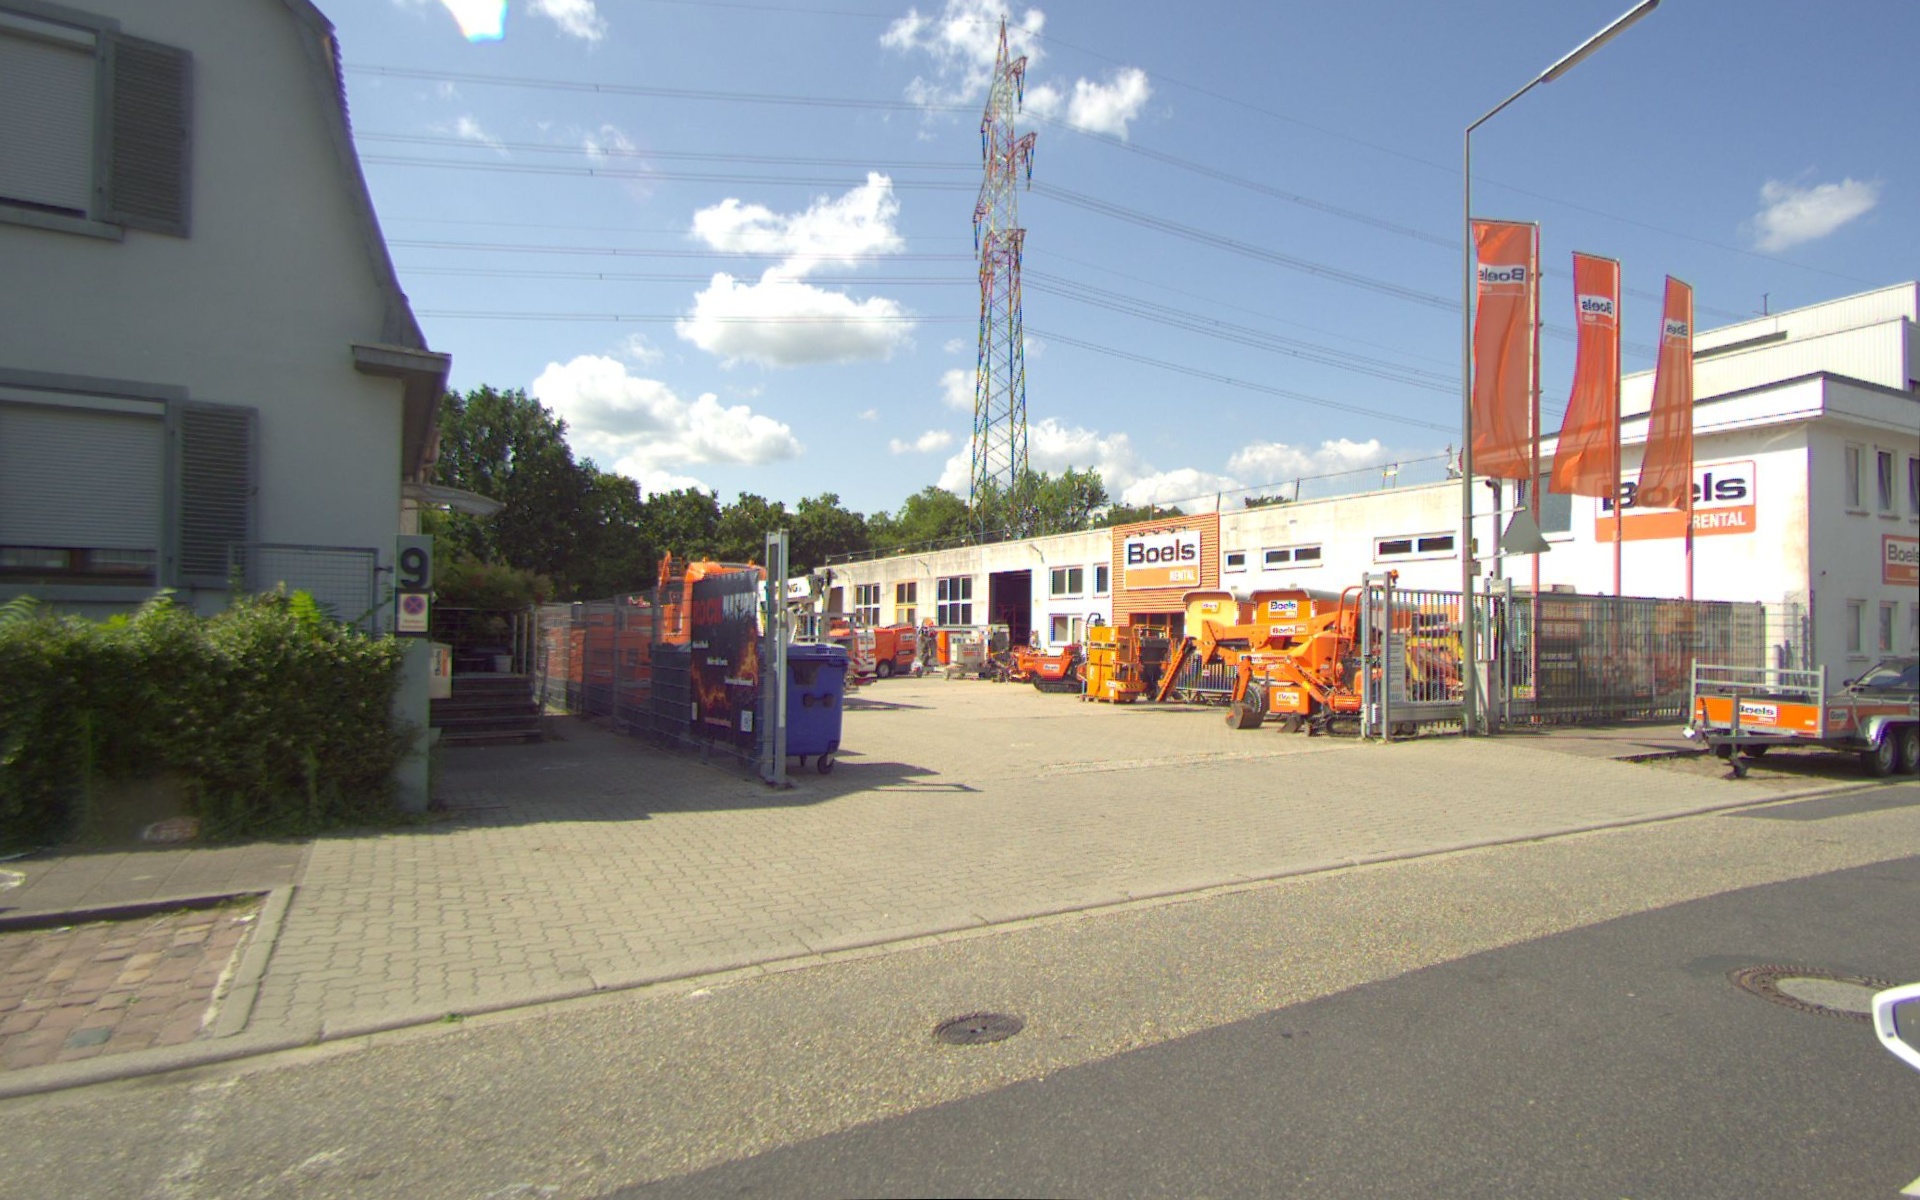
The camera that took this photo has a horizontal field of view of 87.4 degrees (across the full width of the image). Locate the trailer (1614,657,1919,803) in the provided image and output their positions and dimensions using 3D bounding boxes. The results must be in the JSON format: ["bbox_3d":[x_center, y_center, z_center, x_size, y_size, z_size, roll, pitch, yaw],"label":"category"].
[{"bbox_3d":[10.294,1.443,12.329,4.991,1.395,1.759,1,-1,-30],"label":"trailer"}]

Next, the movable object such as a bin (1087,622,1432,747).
[{"bbox_3d":[5.475,1.450,19.649,1.887,2.031,6.817,1,-2,-35],"label":"movable object such as a bin"}]

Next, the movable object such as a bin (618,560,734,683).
[{"bbox_3d":[-18.830,1.608,65.828,4.444,7.254,12.026,1,-3,-31],"label":"movable object such as a bin"}]

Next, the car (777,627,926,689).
[{"bbox_3d":[-4.062,2.176,38.072,5.392,2.193,1.981,2,-3,-35],"label":"car"}]

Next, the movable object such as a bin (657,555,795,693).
[{"bbox_3d":[-7.026,0.777,29.969,2.887,3.784,3.966,1,-3,-32],"label":"movable object such as a bin"}]

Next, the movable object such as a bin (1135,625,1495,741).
[{"bbox_3d":[7.076,1.542,21.310,1.886,2.031,7.549,1,-2,-35],"label":"movable object such as a bin"}]

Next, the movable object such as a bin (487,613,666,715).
[{"bbox_3d":[-10.839,1.756,28.260,4.004,2.570,3.966,1,-3,-33],"label":"movable object such as a bin"}]

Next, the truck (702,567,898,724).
[{"bbox_3d":[-3.876,1.074,23.394,2.471,3.184,5.526,1,-3,-33],"label":"truck"}]

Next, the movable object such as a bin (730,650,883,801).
[{"bbox_3d":[-1.631,1.250,10.563,1.176,1.446,1.308,1,-3,-33],"label":"movable object such as a bin"}]

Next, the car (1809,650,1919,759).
[{"bbox_3d":[14.251,1.459,14.660,3.838,1.395,1.665,1,-1,-30],"label":"car"}]

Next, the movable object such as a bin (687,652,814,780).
[{"bbox_3d":[-2.596,1.373,12.377,1.139,1.446,1.308,1,-3,-33],"label":"movable object such as a bin"}]
